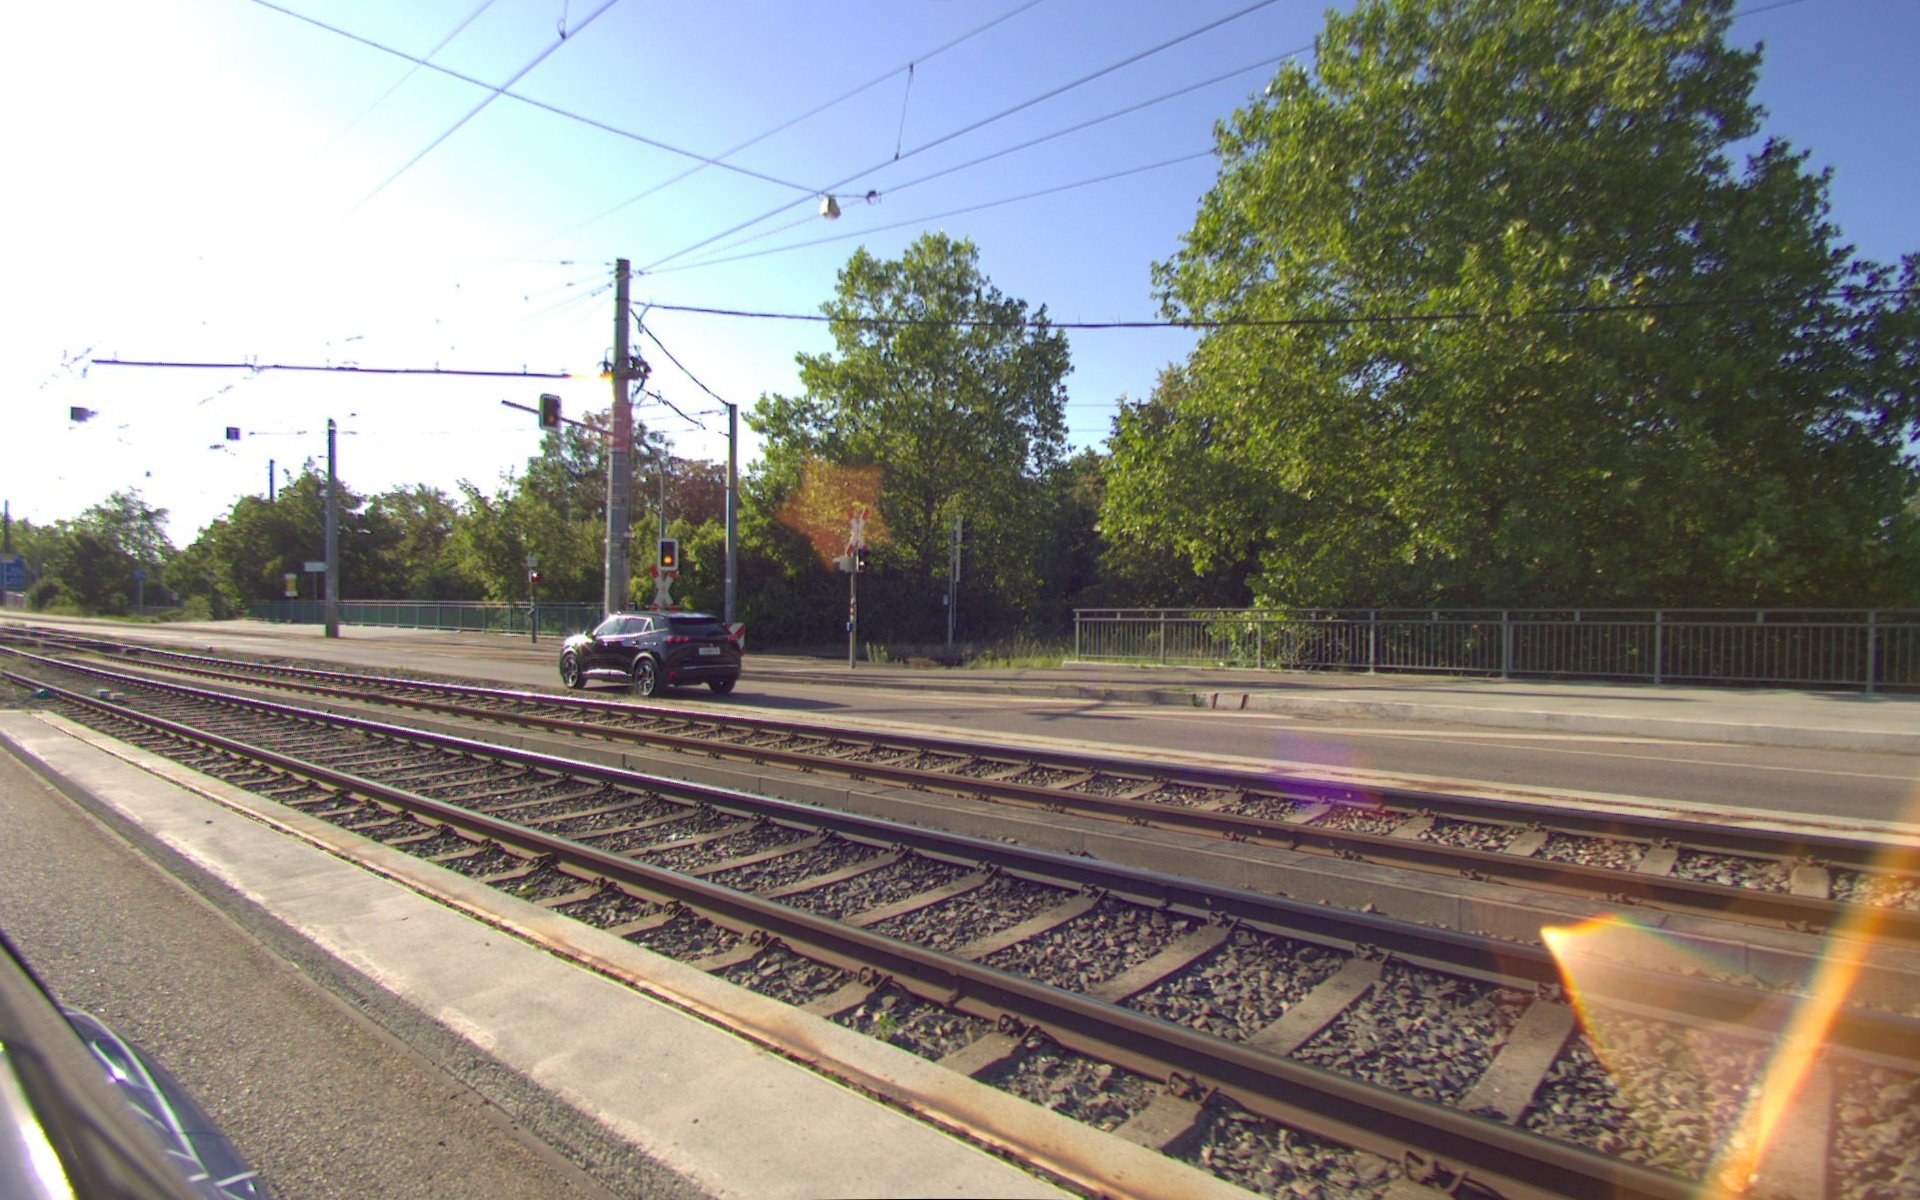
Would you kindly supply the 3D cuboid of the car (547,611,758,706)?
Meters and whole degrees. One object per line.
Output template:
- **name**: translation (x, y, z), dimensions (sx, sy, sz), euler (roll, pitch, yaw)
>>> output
- **car**: translation (-5.805, 0.995, 18.856), dimensions (4.217, 1.513, 1.829), euler (0, 0, 41)
